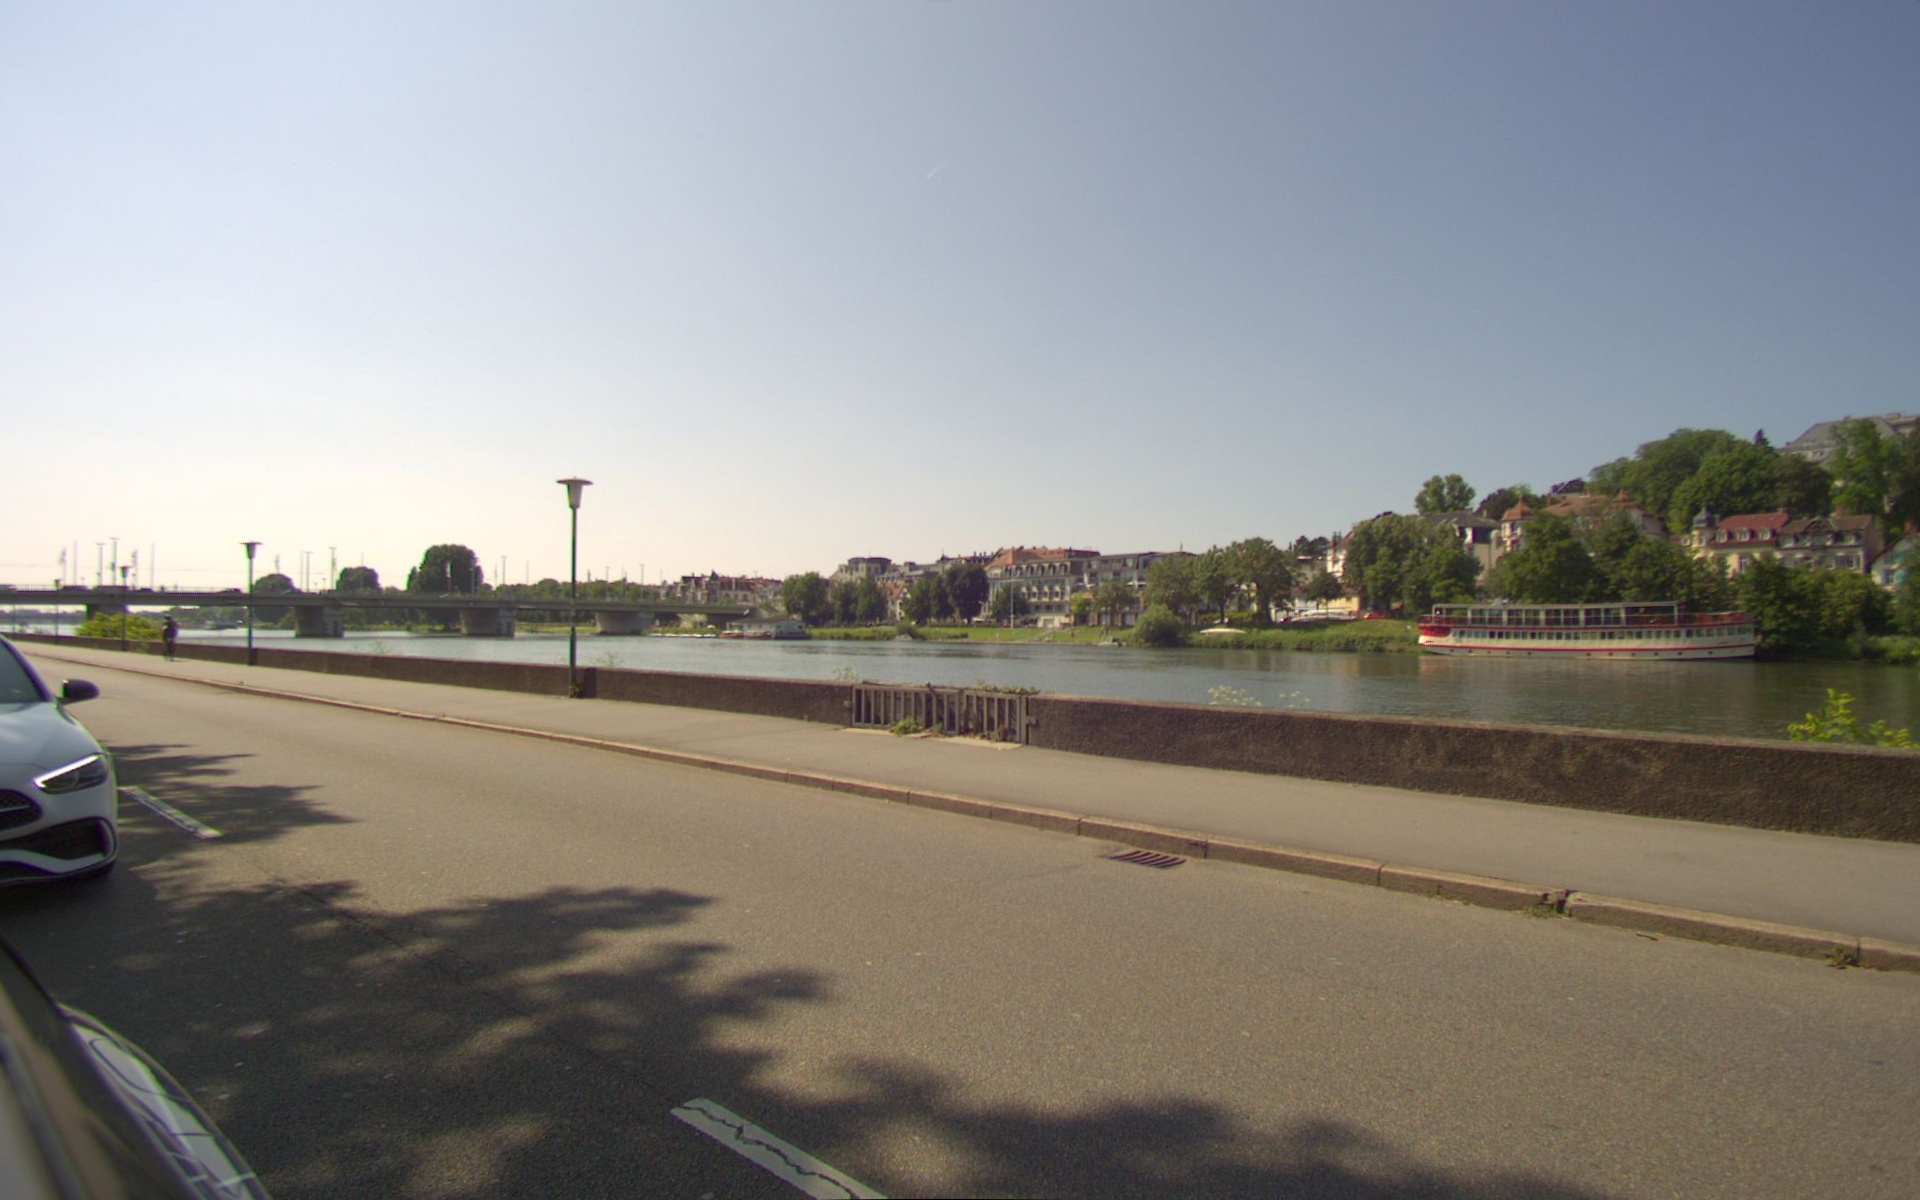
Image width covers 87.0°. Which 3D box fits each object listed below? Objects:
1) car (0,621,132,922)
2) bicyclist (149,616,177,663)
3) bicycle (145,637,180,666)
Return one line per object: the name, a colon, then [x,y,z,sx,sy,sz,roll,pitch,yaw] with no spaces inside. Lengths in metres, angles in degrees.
car: [-6.552,0.869,6.057,4.551,1.430,1.806,-2,-1,42]
bicyclist: [-29.092,1.445,36.932,0.870,1.686,0.631,-2,-2,41]
bicycle: [-29.093,1.858,36.917,1.985,1.019,0.626,-1,-2,41]
